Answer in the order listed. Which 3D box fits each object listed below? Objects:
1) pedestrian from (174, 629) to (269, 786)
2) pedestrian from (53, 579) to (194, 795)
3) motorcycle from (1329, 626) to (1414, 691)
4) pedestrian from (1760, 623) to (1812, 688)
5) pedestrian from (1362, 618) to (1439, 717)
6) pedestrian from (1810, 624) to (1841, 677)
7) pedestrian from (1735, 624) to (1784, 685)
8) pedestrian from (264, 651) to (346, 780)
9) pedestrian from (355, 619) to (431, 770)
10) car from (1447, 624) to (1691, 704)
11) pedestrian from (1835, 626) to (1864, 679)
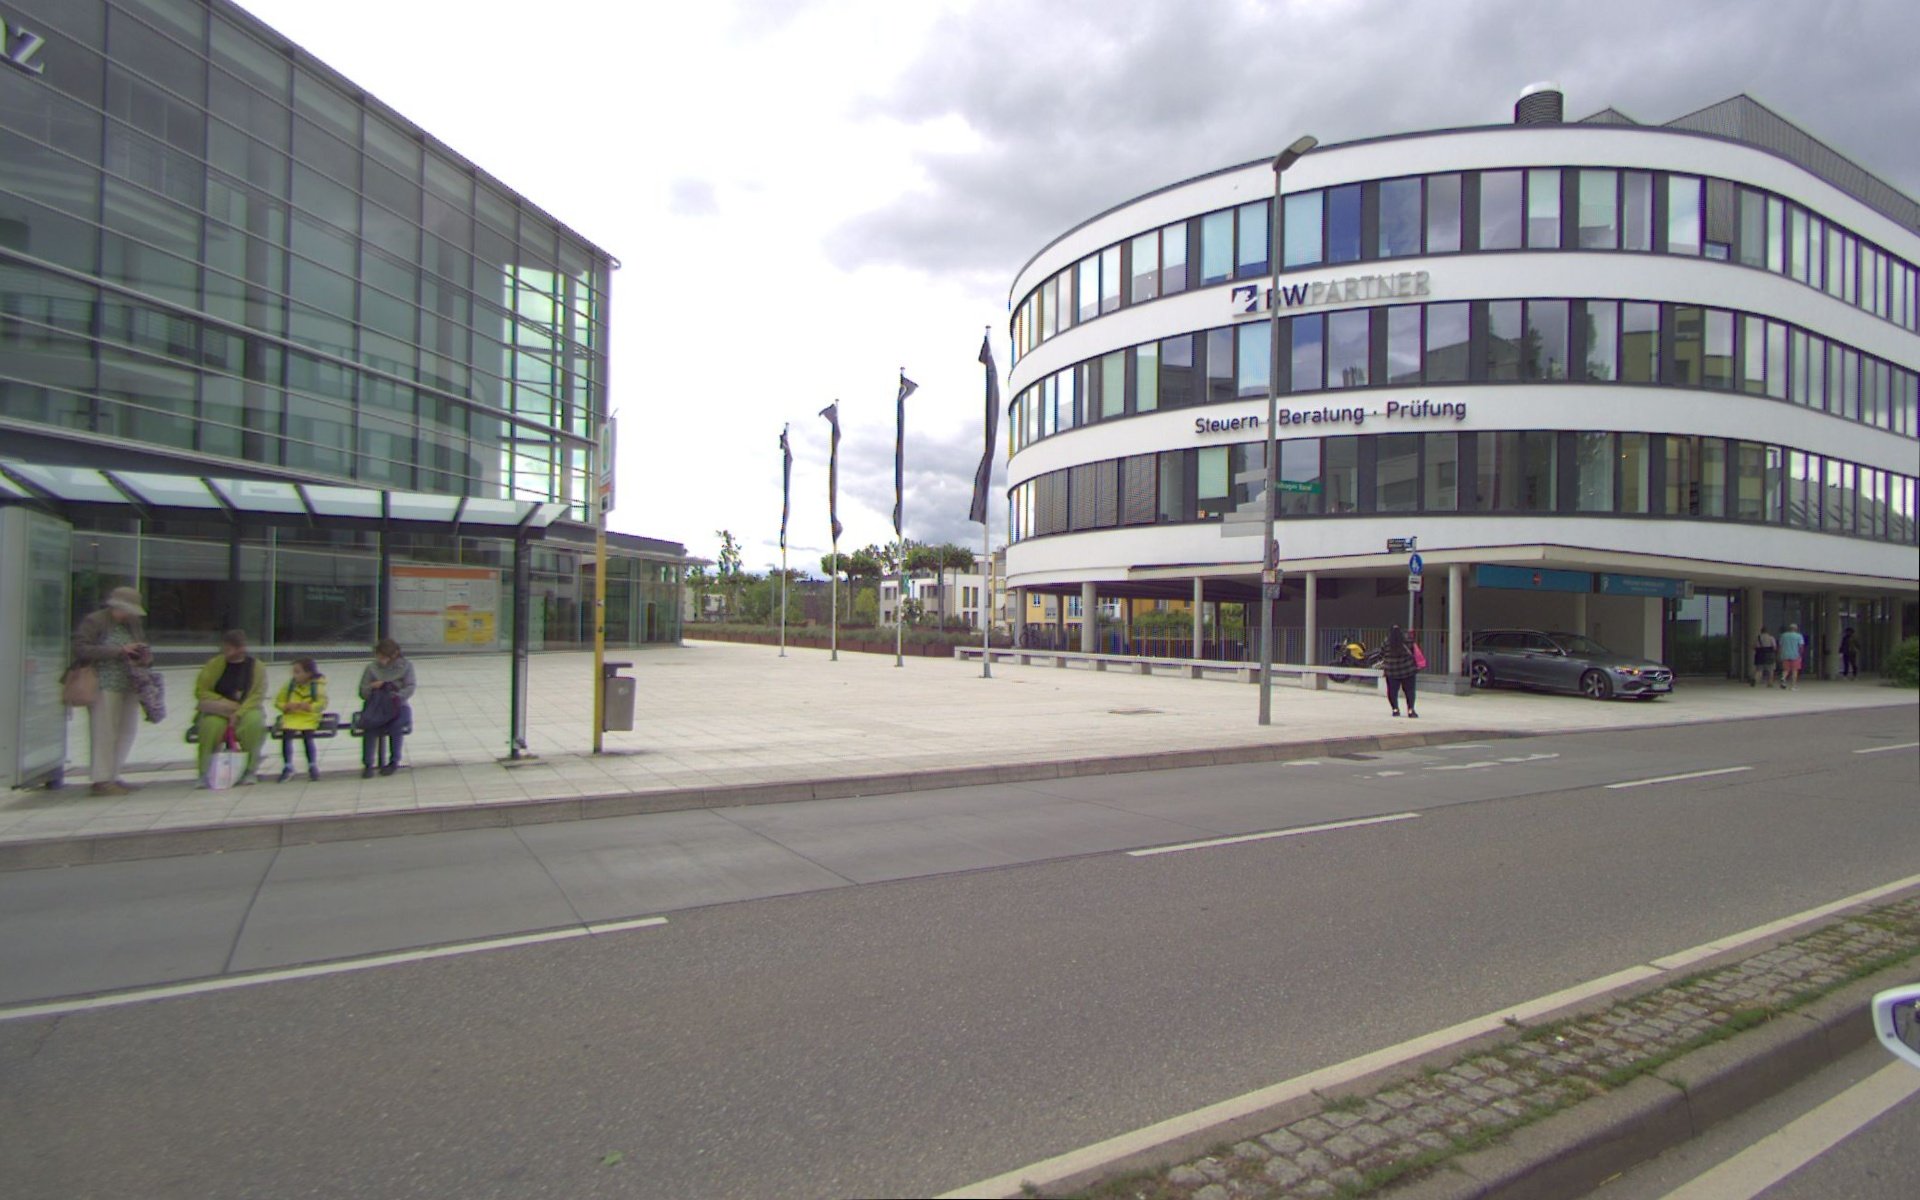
[{"bbox_3d":[-6.311,0.891,8.611,0.570,1.270,0.681,1,-2,-32],"label":"pedestrian"},{"bbox_3d":[-6.726,0.677,8.093,0.673,1.652,0.576,0,-2,19],"label":"pedestrian"},{"bbox_3d":[9.581,1.341,23.468,0.628,1.351,1.848,1,1,-26],"label":"motorcycle"},{"bbox_3d":[21.994,1.468,26.751,0.920,1.696,0.727,1,0,-29],"label":"pedestrian"},{"bbox_3d":[7.386,1.111,16.869,0.802,1.588,0.827,1,0,-25],"label":"pedestrian"},{"bbox_3d":[29.198,1.703,33.899,0.603,1.752,0.506,1,-1,1],"label":"pedestrian"},{"bbox_3d":[22.258,1.517,27.968,0.920,1.635,0.727,1,0,-29],"label":"pedestrian"},{"bbox_3d":[-5.825,0.998,8.965,0.570,1.089,0.681,1,-3,-32],"label":"pedestrian"},{"bbox_3d":[-5.260,0.853,9.317,0.570,1.337,0.681,1,-2,-32],"label":"pedestrian"},{"bbox_3d":[13.744,1.389,22.988,1.878,1.434,4.440,2,1,-26],"label":"car"},{"bbox_3d":[29.175,1.710,32.940,0.604,1.732,0.505,0,-1,29],"label":"pedestrian"}]
